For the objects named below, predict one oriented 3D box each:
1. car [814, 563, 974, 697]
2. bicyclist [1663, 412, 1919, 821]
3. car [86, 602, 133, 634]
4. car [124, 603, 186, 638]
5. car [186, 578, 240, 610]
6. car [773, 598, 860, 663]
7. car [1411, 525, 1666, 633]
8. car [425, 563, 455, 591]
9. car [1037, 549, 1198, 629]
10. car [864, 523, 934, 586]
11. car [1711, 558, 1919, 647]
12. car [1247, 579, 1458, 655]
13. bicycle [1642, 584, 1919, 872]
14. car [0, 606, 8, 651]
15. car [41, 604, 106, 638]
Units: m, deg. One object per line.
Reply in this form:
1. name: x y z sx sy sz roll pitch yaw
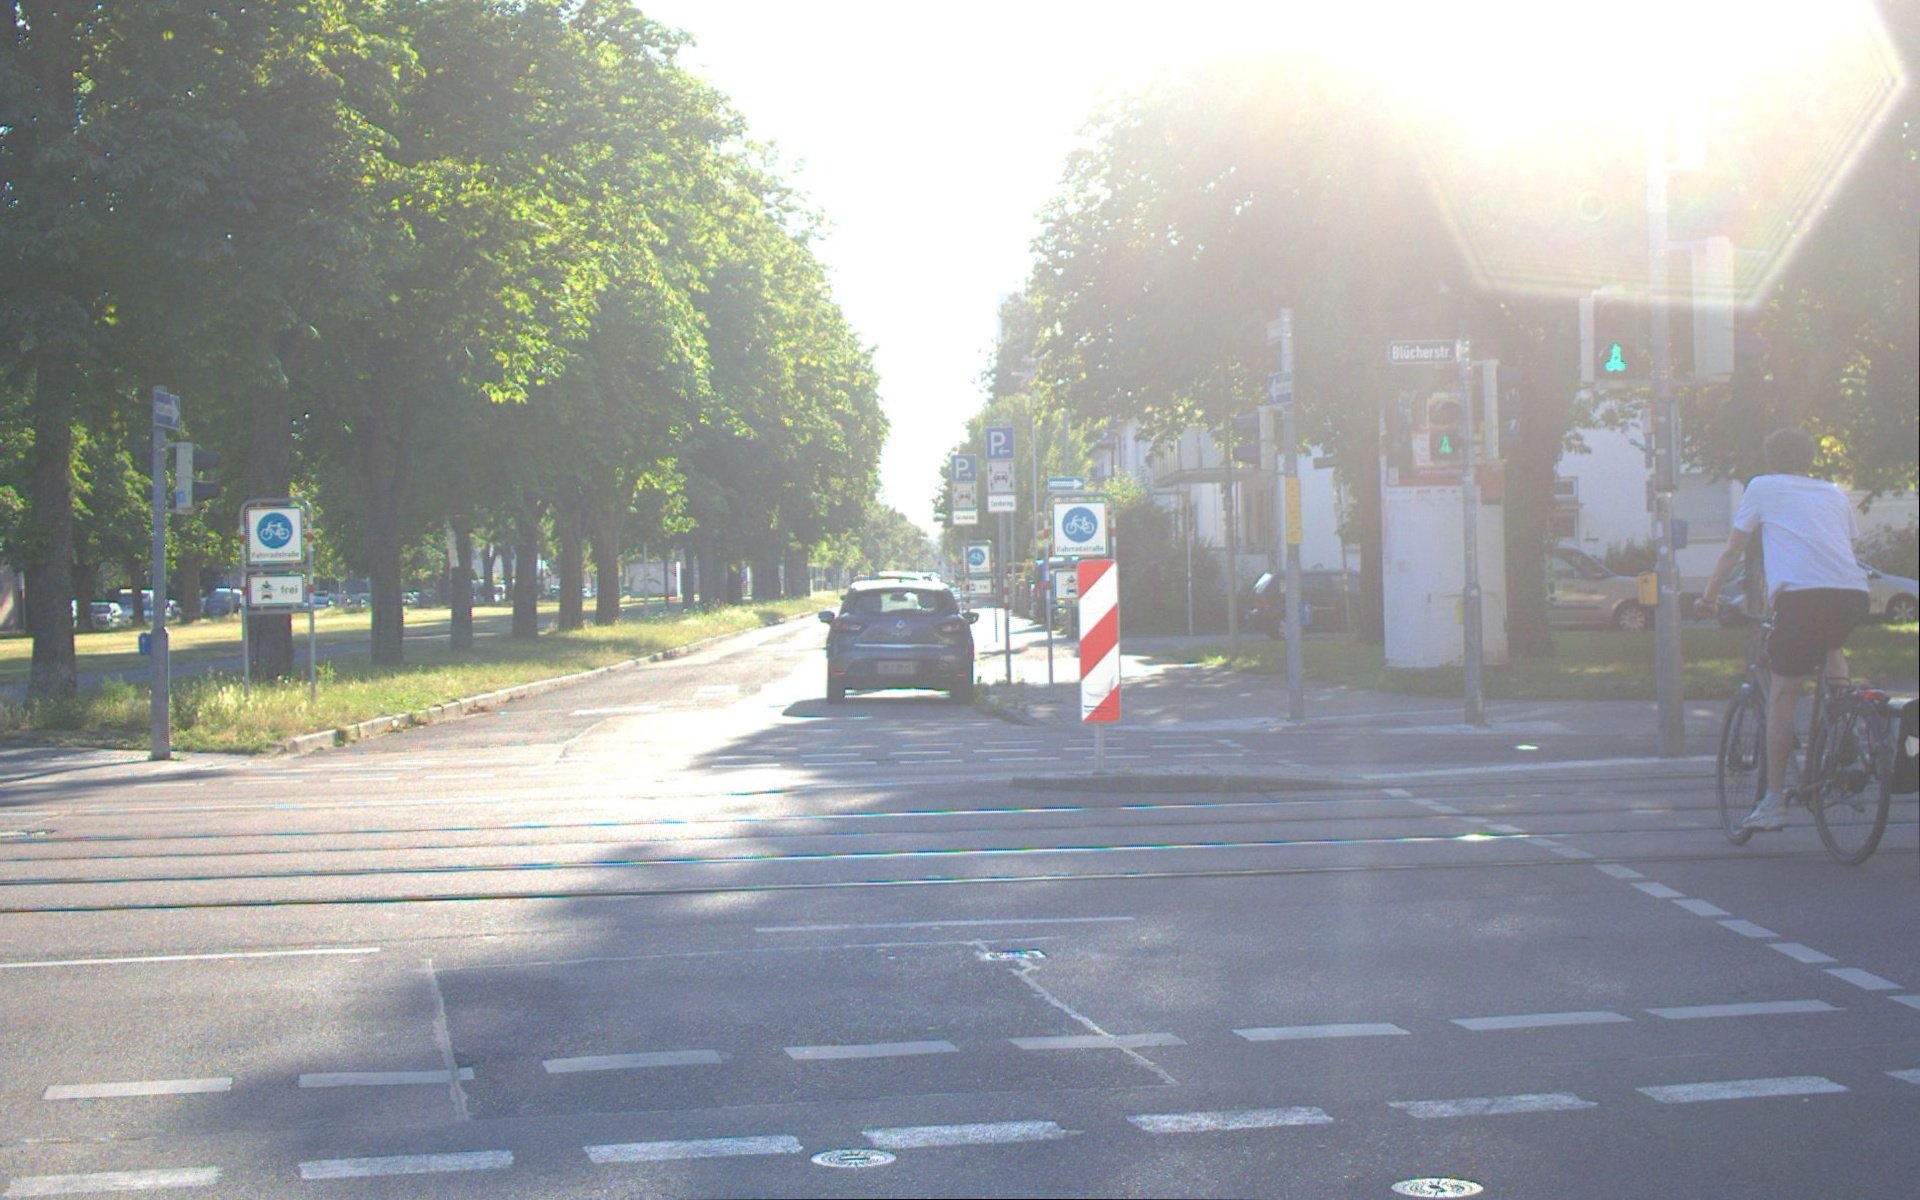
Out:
1. car: -0.745 0.365 41.490 1.725 1.506 4.540 1 -1 1
2. bicyclist: 3.670 0.079 15.059 0.814 1.726 0.894 1 -1 -16
3. car: -44.271 0.943 179.003 1.639 1.637 3.855 1 -1 -2
4. car: -38.780 1.001 165.785 2.023 1.653 3.984 1 -1 0
5. car: -40.314 -0.318 185.609 1.993 1.653 4.571 -1 0 -1
6. car: -3.099 0.663 74.805 1.709 1.355 4.203 1 -1 0
7. car: 10.433 -0.361 62.194 4.241 1.868 2.031 -1 -1 0
8. car: -38.107 -1.669 252.054 1.654 1.932 3.567 1 -2 -1
9. car: 4.117 -0.273 90.348 3.986 1.816 1.760 -2 -5 -4
10. car: -1.804 -1.336 100.761 1.993 1.775 4.000 1 1 -1
11. car: 15.491 0.037 61.786 3.552 1.511 1.606 -1 0 -6
12. car: 7.829 0.336 68.767 3.987 1.442 1.716 -1 -1 -1
13. bicycle: 3.697 0.527 15.061 0.572 1.180 1.906 1 0 -16
14. car: -38.909 1.096 135.039 1.811 1.775 4.122 1 -1 0
15. car: -44.105 1.066 171.153 1.993 1.653 4.355 1 -1 1
